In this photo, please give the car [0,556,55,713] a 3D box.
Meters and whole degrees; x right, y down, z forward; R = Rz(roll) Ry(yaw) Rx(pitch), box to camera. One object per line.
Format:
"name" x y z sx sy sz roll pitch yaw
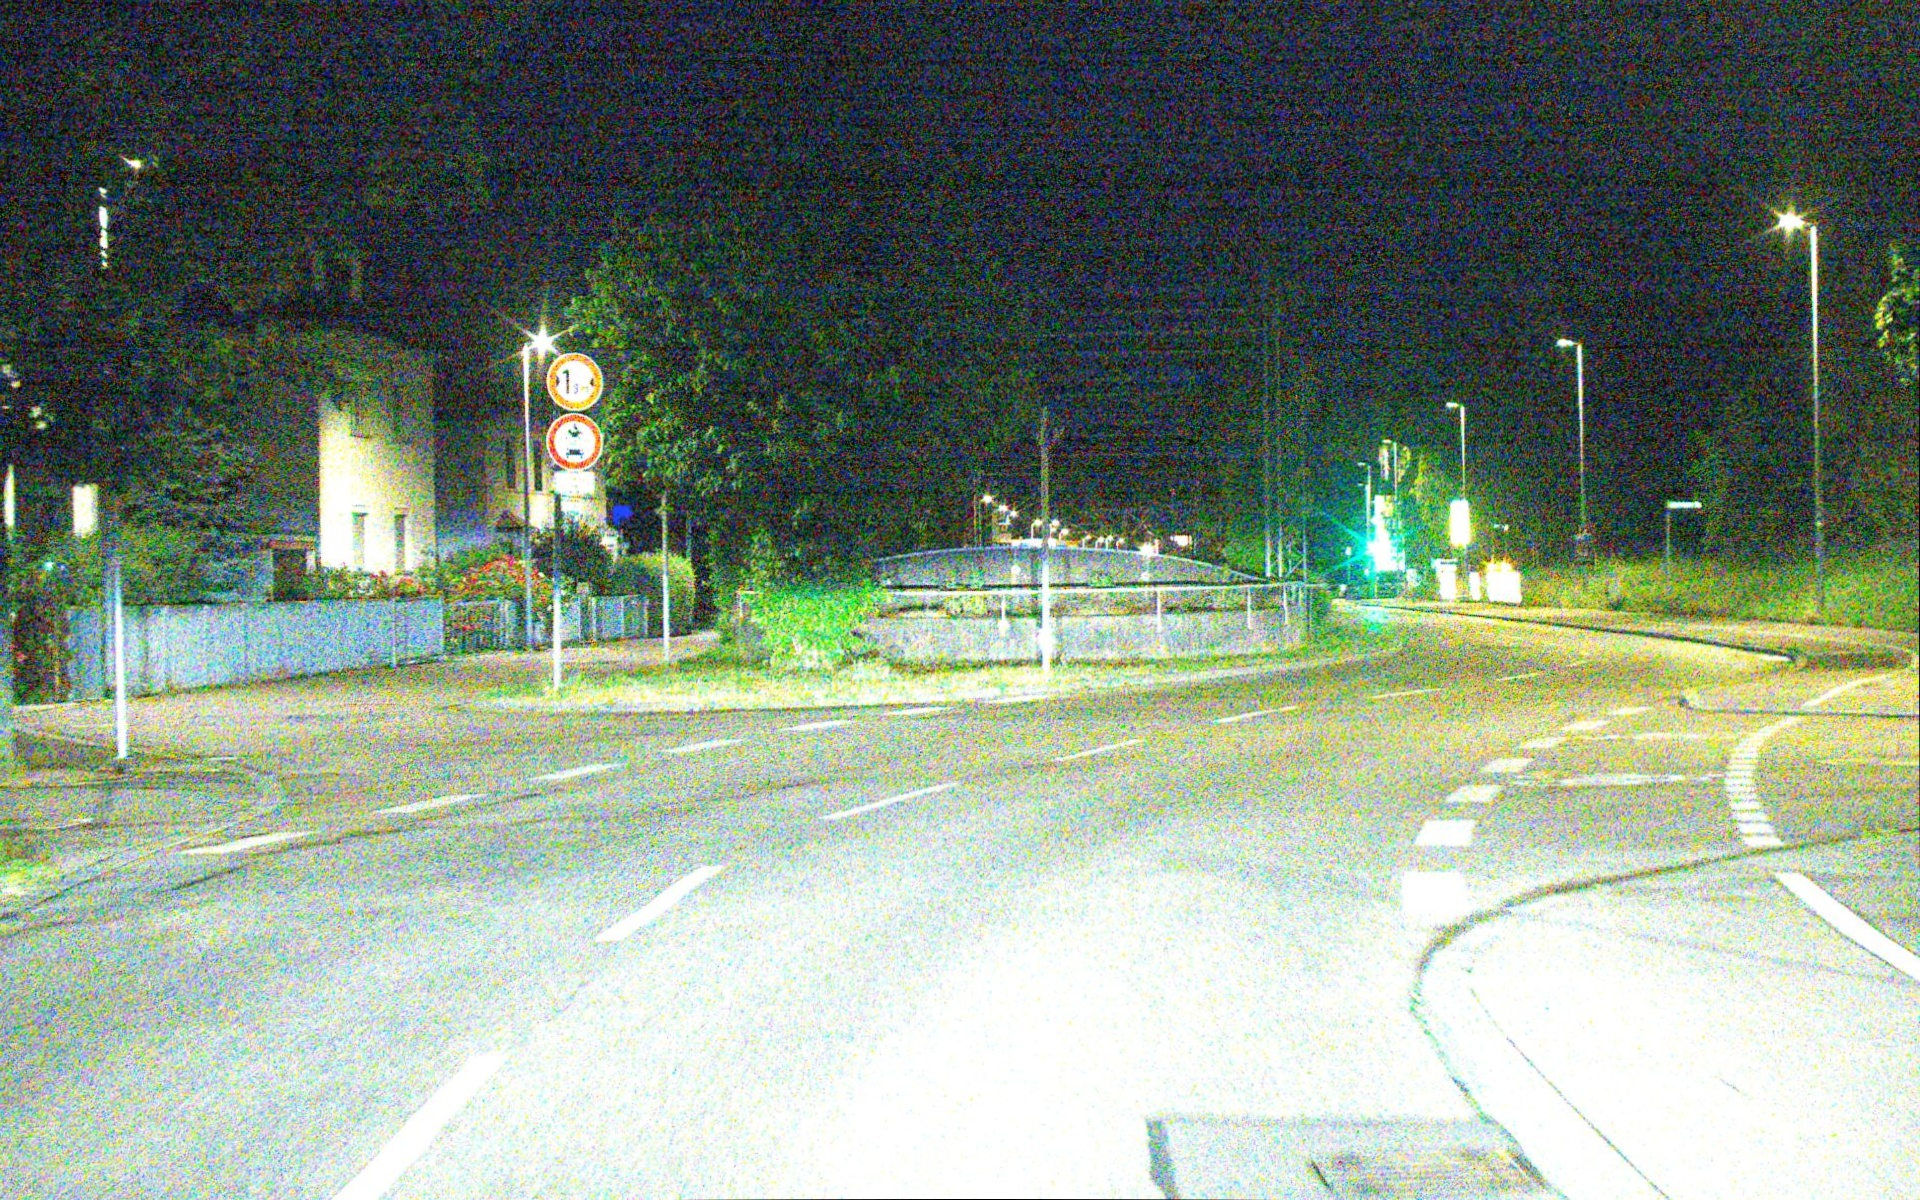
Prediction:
"car" -11.729 0.399 36.485 3.716 1.621 1.781 -1 1 19
